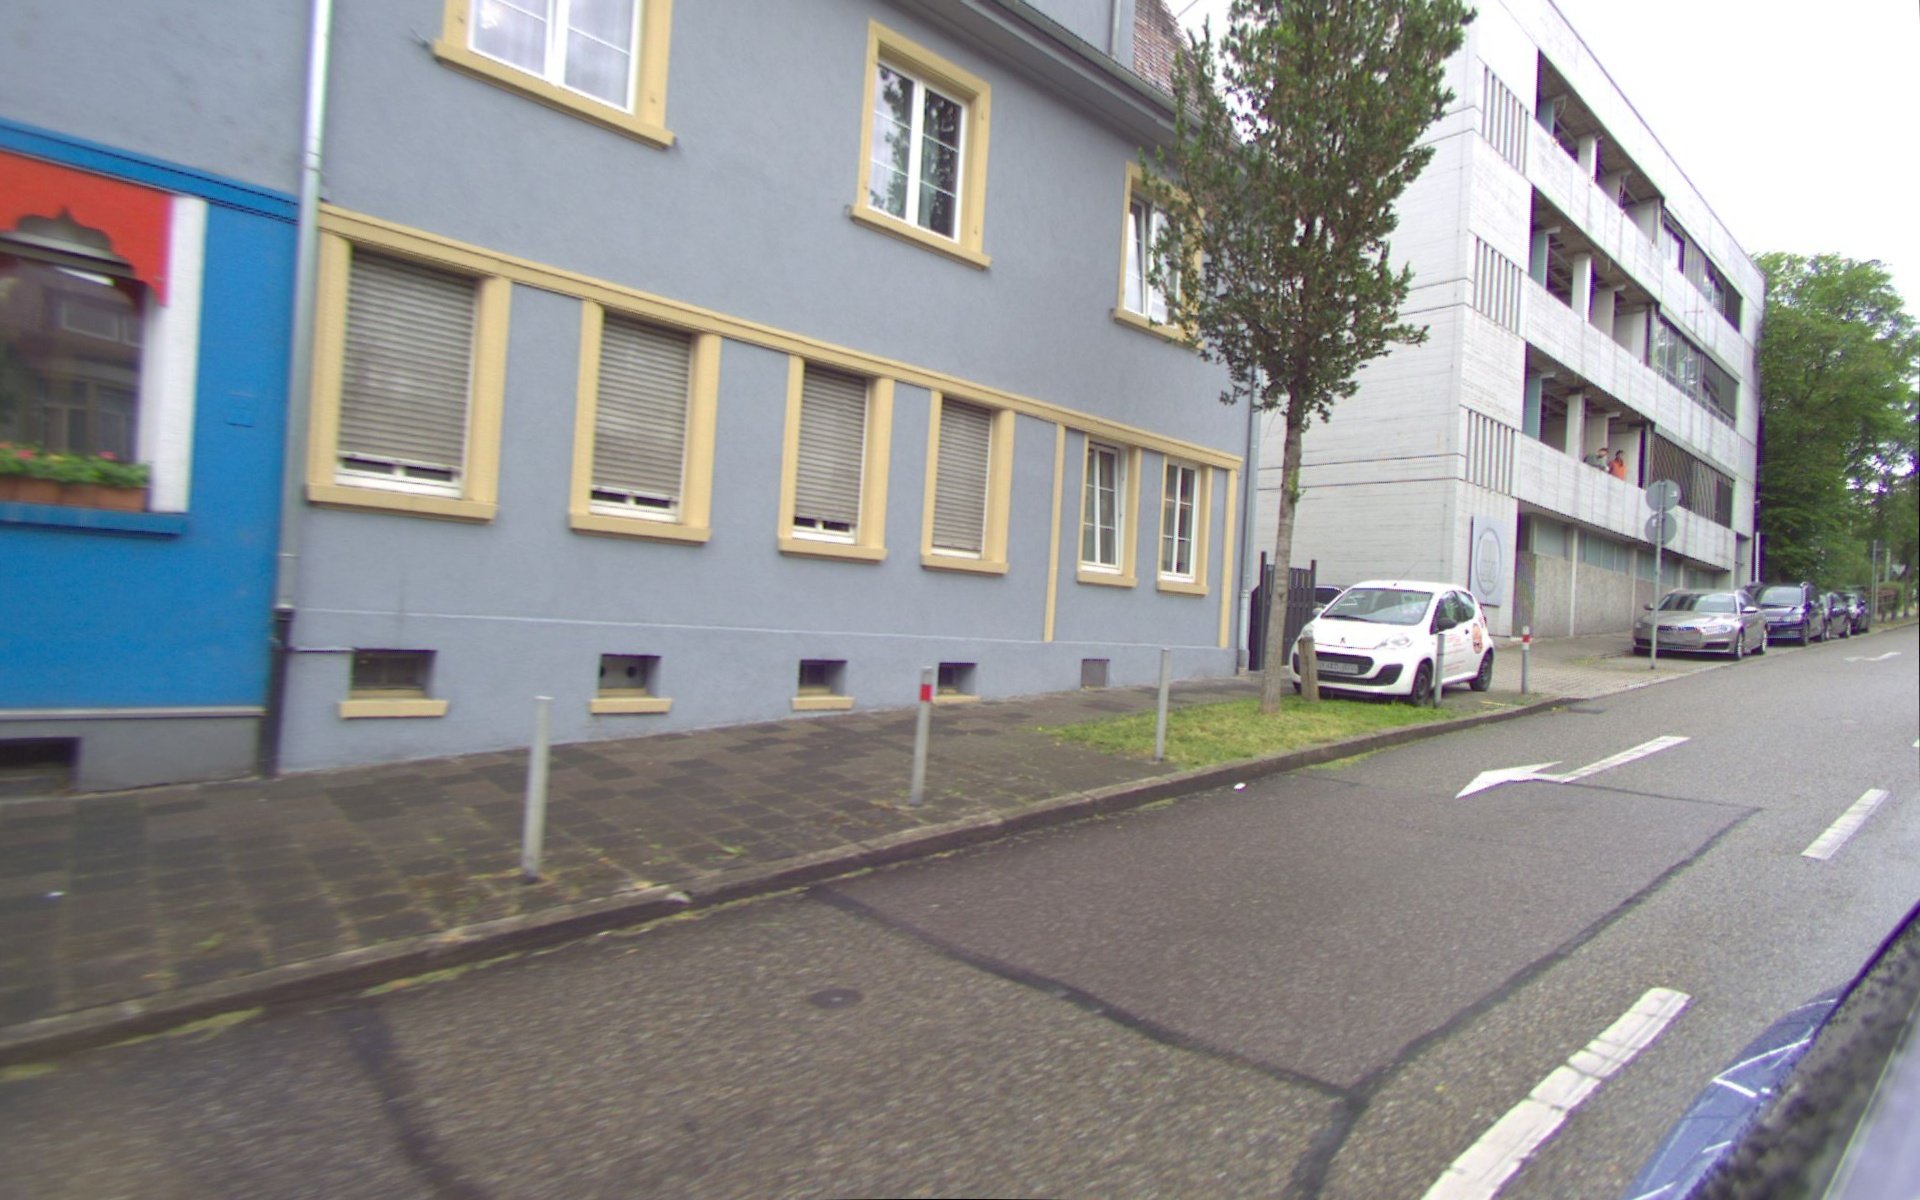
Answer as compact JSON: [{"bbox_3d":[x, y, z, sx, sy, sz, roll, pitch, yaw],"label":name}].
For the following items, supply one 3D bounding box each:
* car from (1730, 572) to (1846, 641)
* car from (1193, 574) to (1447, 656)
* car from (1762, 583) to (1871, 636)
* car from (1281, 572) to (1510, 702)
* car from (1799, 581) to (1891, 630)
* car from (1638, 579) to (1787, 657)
[{"bbox_3d":[22.263,0.124,27.151,4.270,1.695,1.747,-1,2,-42],"label":"car"},{"bbox_3d":[6.897,0.257,19.565,4.337,1.425,1.787,0,1,34],"label":"car"},{"bbox_3d":[25.619,0.225,30.237,4.023,1.462,1.711,-1,2,-38],"label":"car"},{"bbox_3d":[5.751,0.386,13.198,1.587,1.429,3.401,4,3,45],"label":"car"},{"bbox_3d":[29.917,0.140,34.190,4.085,1.461,1.842,-1,4,-42],"label":"car"},{"bbox_3d":[16.550,0.310,22.173,4.663,1.477,1.817,-1,3,-44],"label":"car"}]
